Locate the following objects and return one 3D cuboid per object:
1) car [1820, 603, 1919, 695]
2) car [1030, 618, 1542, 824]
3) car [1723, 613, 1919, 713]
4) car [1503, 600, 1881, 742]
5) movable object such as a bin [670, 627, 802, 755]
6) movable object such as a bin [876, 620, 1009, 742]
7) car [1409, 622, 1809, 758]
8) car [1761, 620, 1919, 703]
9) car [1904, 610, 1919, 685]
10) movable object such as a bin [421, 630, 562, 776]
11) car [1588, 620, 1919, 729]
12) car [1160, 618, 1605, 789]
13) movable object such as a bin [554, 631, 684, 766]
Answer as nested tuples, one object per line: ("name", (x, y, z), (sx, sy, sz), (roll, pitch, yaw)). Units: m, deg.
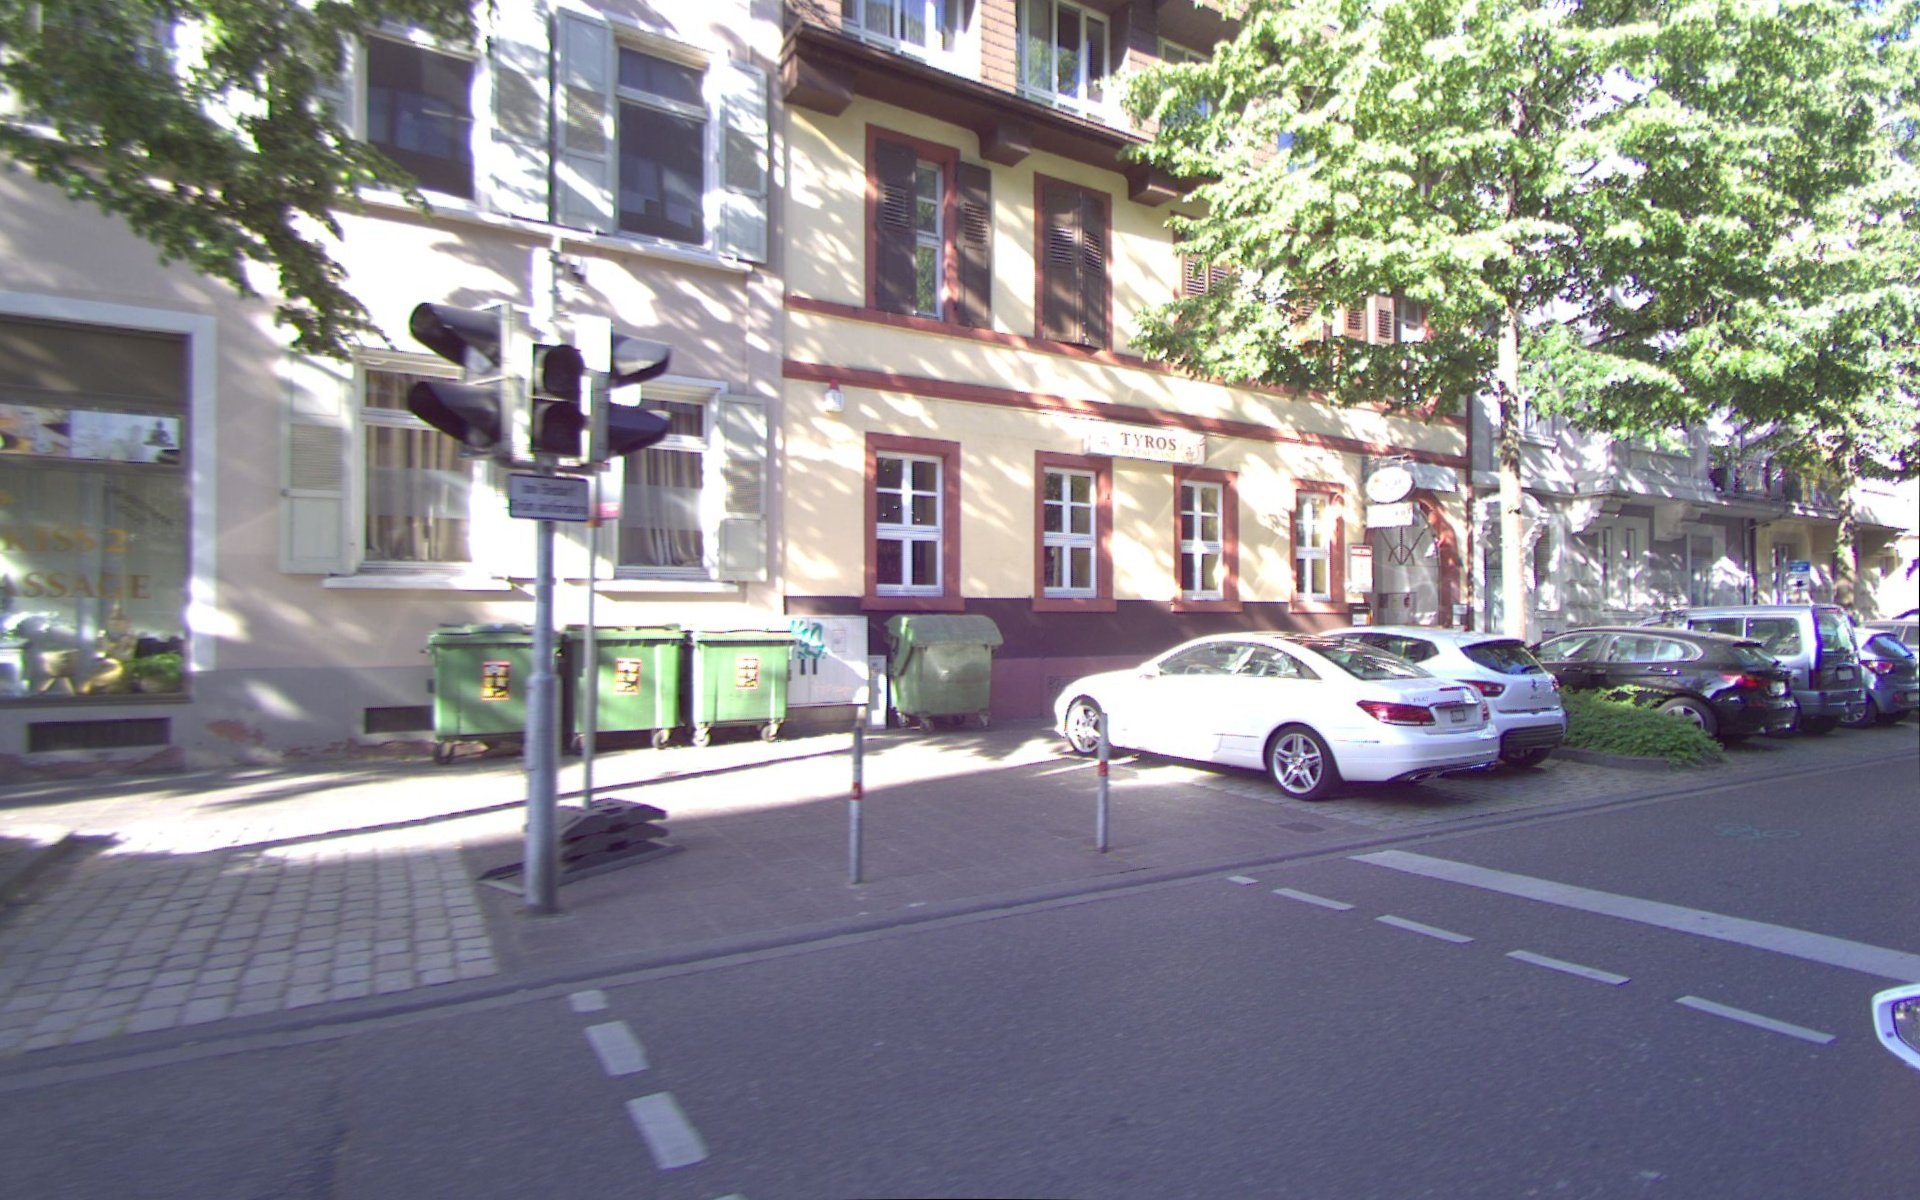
("car", (21.541, 1.047, 21.362), (1.906, 1.952, 4.556), (0, -1, -28))
("car", (2.941, 0.980, 10.105), (1.980, 1.512, 4.669), (2, -1, -35))
("car", (17.277, 1.138, 18.863), (1.895, 1.756, 4.316), (1, -1, -32))
("car", (10.980, 0.978, 15.444), (1.906, 1.848, 4.322), (0, -1, -28))
("movable object such as a bin", (-2.583, 1.011, 11.590), (1.328, 1.380, 0.814), (1, -1, -28))
("movable object such as a bin", (-0.235, 0.995, 12.905), (1.364, 1.464, 1.129), (1, -1, -28))
("car", (8.773, 1.096, 13.883), (1.950, 1.565, 4.300), (1, -2, -42))
("car", (19.199, 1.213, 20.315), (1.895, 1.616, 4.316), (1, -1, -32))
("car", (25.896, 1.159, 24.277), (1.901, 1.858, 4.303), (1, -2, -40))
("movable object such as a bin", (-4.803, 1.008, 10.305), (1.245, 1.385, 0.906), (1, -1, -28))
("car", (13.243, 1.129, 16.804), (1.891, 1.565, 4.325), (0, -1, -26))
("car", (4.698, 1.016, 11.961), (1.976, 1.512, 4.677), (0, 0, -30))
("movable object such as a bin", (-3.725, 1.028, 10.950), (1.232, 1.373, 0.826), (1, -1, -28))
